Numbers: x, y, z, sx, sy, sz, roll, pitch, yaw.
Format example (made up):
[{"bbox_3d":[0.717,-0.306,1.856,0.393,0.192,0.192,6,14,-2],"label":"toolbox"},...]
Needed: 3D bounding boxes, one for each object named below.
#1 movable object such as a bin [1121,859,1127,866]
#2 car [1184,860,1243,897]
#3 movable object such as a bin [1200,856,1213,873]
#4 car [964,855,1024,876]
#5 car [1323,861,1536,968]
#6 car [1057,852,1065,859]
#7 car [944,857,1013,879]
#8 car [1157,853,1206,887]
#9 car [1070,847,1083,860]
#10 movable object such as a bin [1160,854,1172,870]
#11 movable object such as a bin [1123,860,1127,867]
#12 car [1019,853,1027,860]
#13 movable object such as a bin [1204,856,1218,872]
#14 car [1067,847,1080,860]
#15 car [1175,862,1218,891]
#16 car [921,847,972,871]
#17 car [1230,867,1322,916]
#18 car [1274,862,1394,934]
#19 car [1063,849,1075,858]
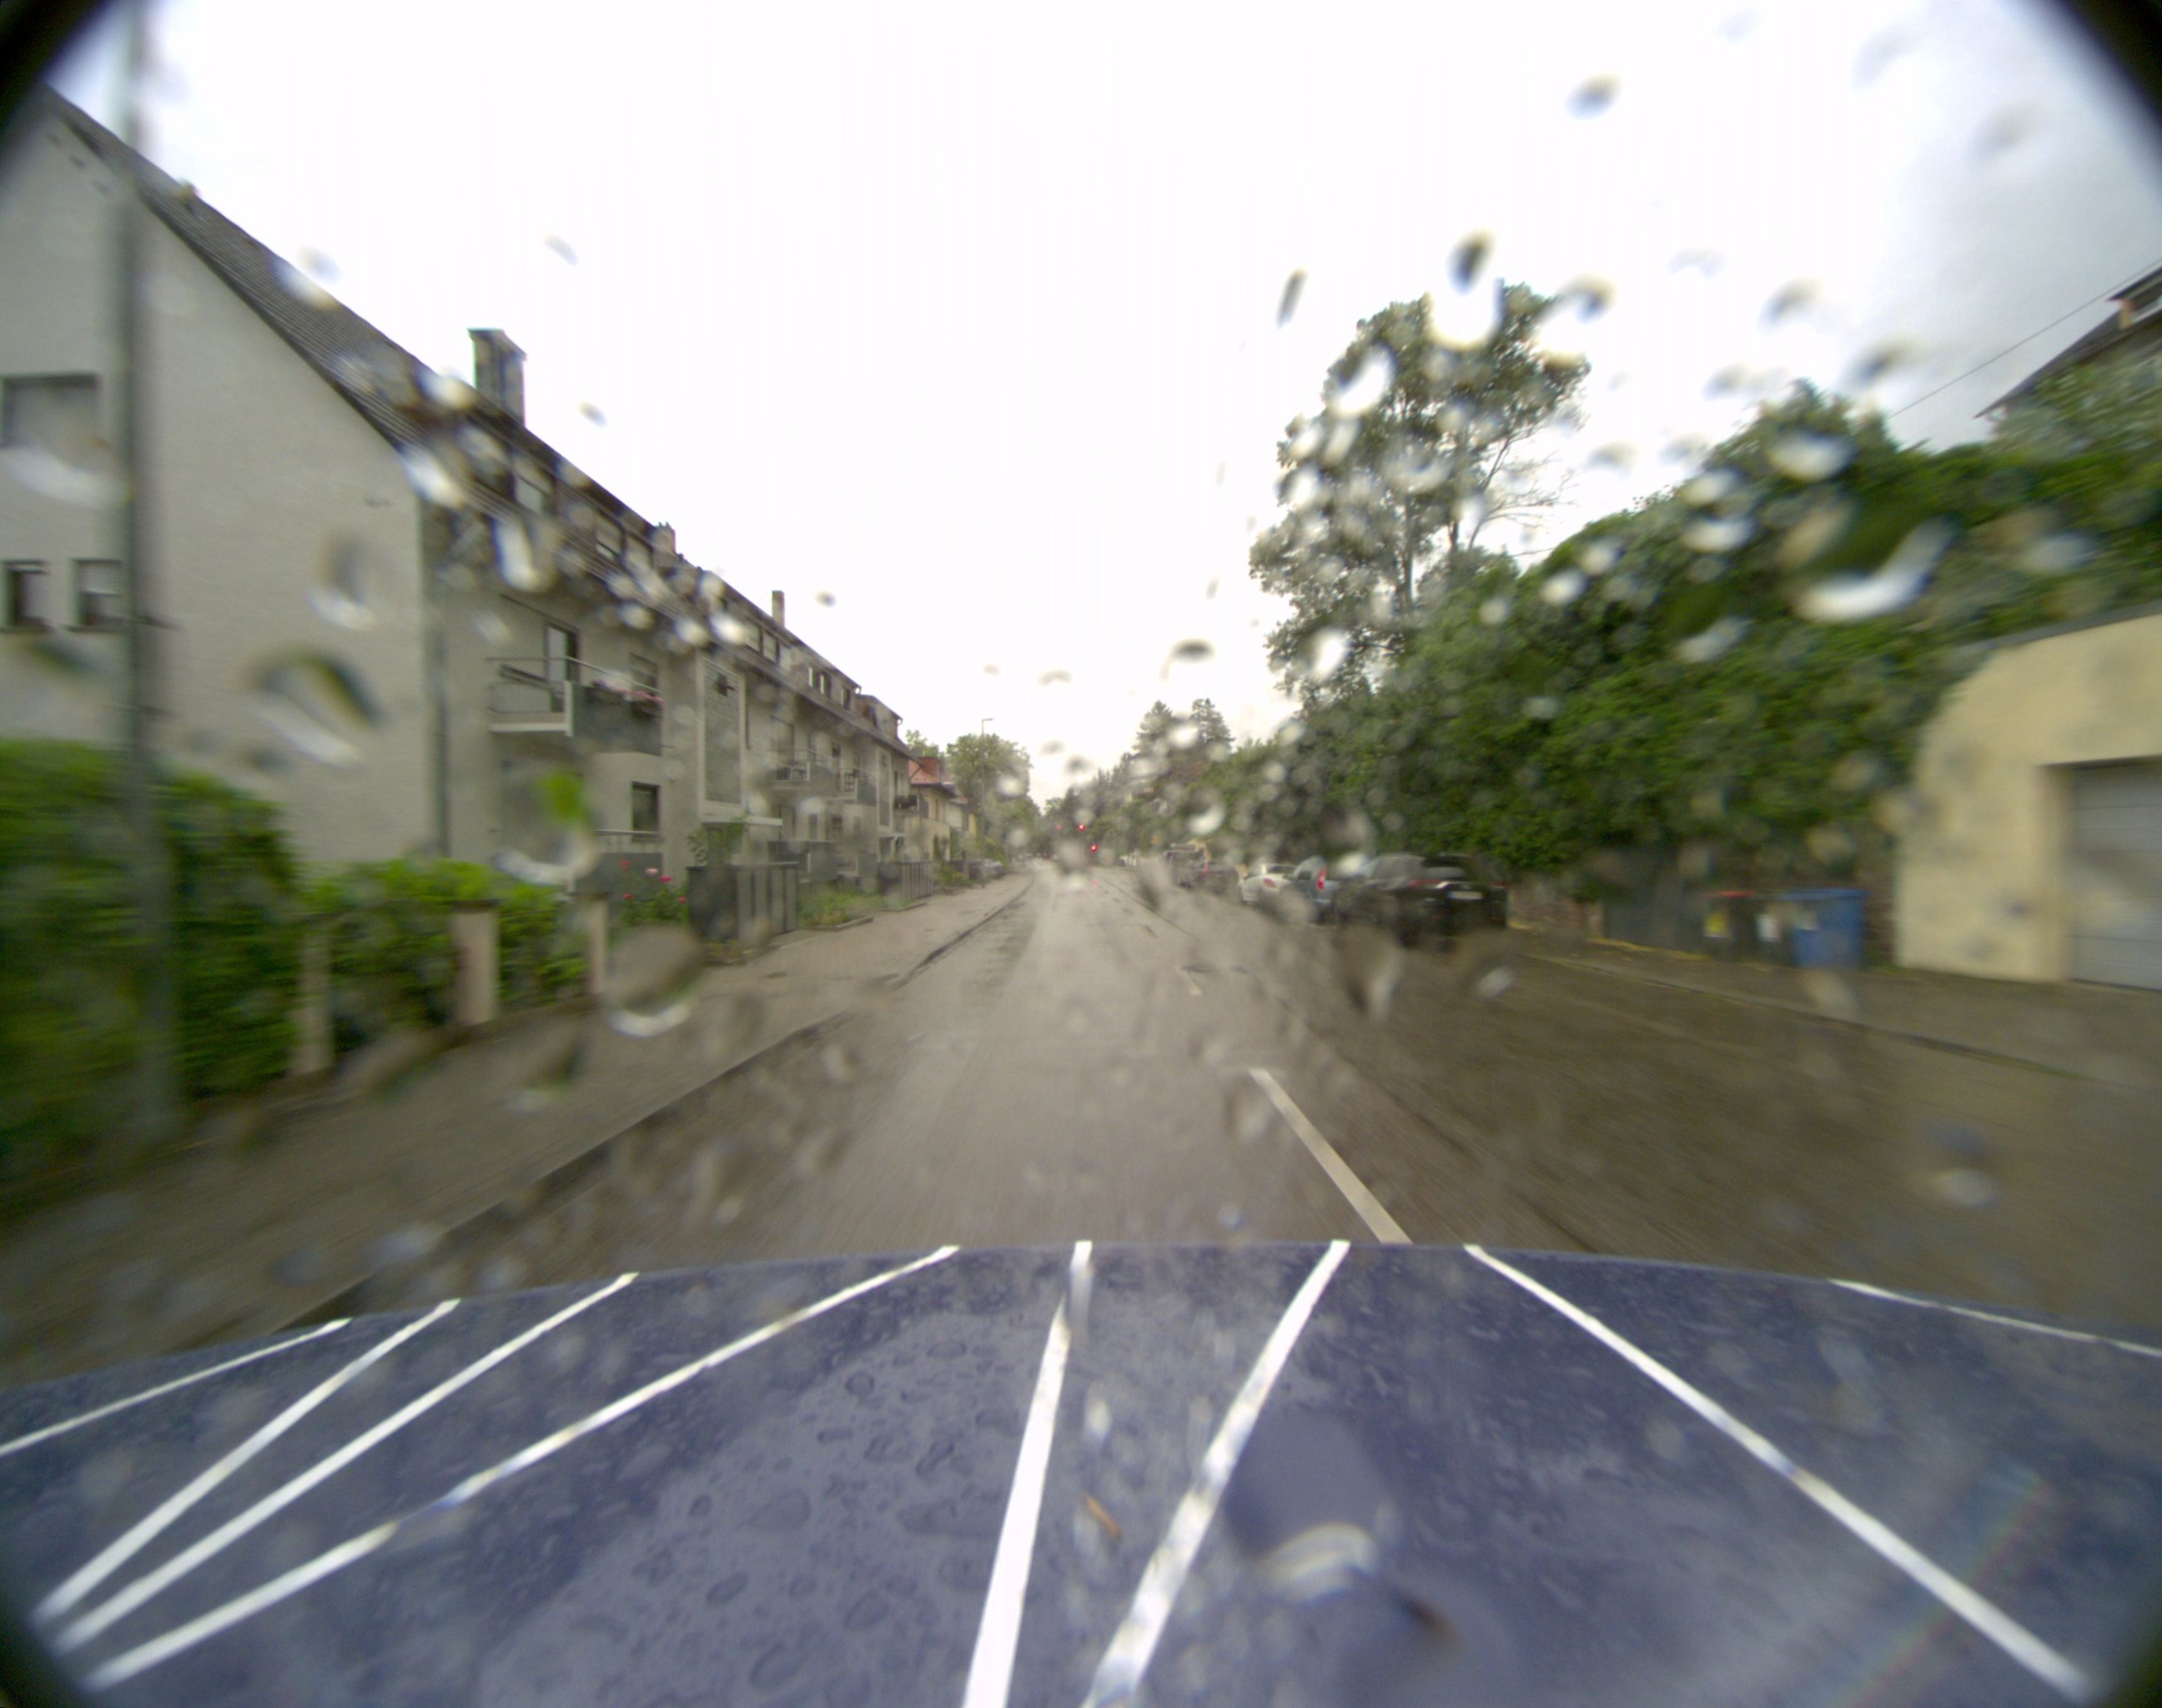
[{"bbox_3d":[5.954,1.170,105.175,0.683,1.034,0.657,-2,1,-6],"label":"movable object such as a bin"},{"bbox_3d":[6.078,1.103,35.401,1.913,1.472,4.755,2,1,0],"label":"car"},{"bbox_3d":[10.498,0.848,63.551,0.822,1.374,1.134,-2,0,1],"label":"movable object such as a bin"},{"bbox_3d":[-6.274,0.807,54.468,3.989,1.448,1.775,-1,0,32],"label":"car"},{"bbox_3d":[6.243,0.977,14.312,1.879,1.616,4.593,2,0,1],"label":"car"},{"bbox_3d":[-5.149,0.332,196.752,1.926,1.747,3.998,-2,1,-4],"label":"car"},{"bbox_3d":[-7.043,0.945,52.090,4.370,1.356,1.923,-1,2,31],"label":"car"},{"bbox_3d":[5.983,0.893,45.871,2.164,1.908,5.322,0,1,-1],"label":"car"},{"bbox_3d":[-0.920,-0.096,145.777,2.086,2.464,4.851,2,0,-6],"label":"car"},{"bbox_3d":[8.146,0.733,72.811,0.935,1.437,0.861,-4,2,-4],"label":"movable object such as a bin"},{"bbox_3d":[6.040,1.285,103.832,0.532,0.893,0.416,-2,1,-6],"label":"movable object such as a bin"},{"bbox_3d":[-15.470,0.590,202.634,1.926,1.889,3.998,-2,1,-4],"label":"car"},{"bbox_3d":[10.392,0.792,60.749,0.822,1.307,1.402,-2,0,1],"label":"movable object such as a bin"},{"bbox_3d":[-1.549,-0.133,152.489,2.163,2.454,4.913,2,0,-6],"label":"car"},{"bbox_3d":[6.173,1.183,40.919,1.569,1.357,3.906,1,1,-2],"label":"car"},{"bbox_3d":[-11.830,0.453,66.981,3.997,1.571,1.821,-7,1,0],"label":"car"},{"bbox_3d":[6.109,1.144,24.293,1.721,1.357,4.082,1,0,-3],"label":"car"},{"bbox_3d":[6.329,1.034,19.482,1.746,1.552,4.109,1,0,1],"label":"car"},{"bbox_3d":[-2.604,-0.107,162.262,2.163,1.944,4.913,2,0,-6],"label":"car"}]
